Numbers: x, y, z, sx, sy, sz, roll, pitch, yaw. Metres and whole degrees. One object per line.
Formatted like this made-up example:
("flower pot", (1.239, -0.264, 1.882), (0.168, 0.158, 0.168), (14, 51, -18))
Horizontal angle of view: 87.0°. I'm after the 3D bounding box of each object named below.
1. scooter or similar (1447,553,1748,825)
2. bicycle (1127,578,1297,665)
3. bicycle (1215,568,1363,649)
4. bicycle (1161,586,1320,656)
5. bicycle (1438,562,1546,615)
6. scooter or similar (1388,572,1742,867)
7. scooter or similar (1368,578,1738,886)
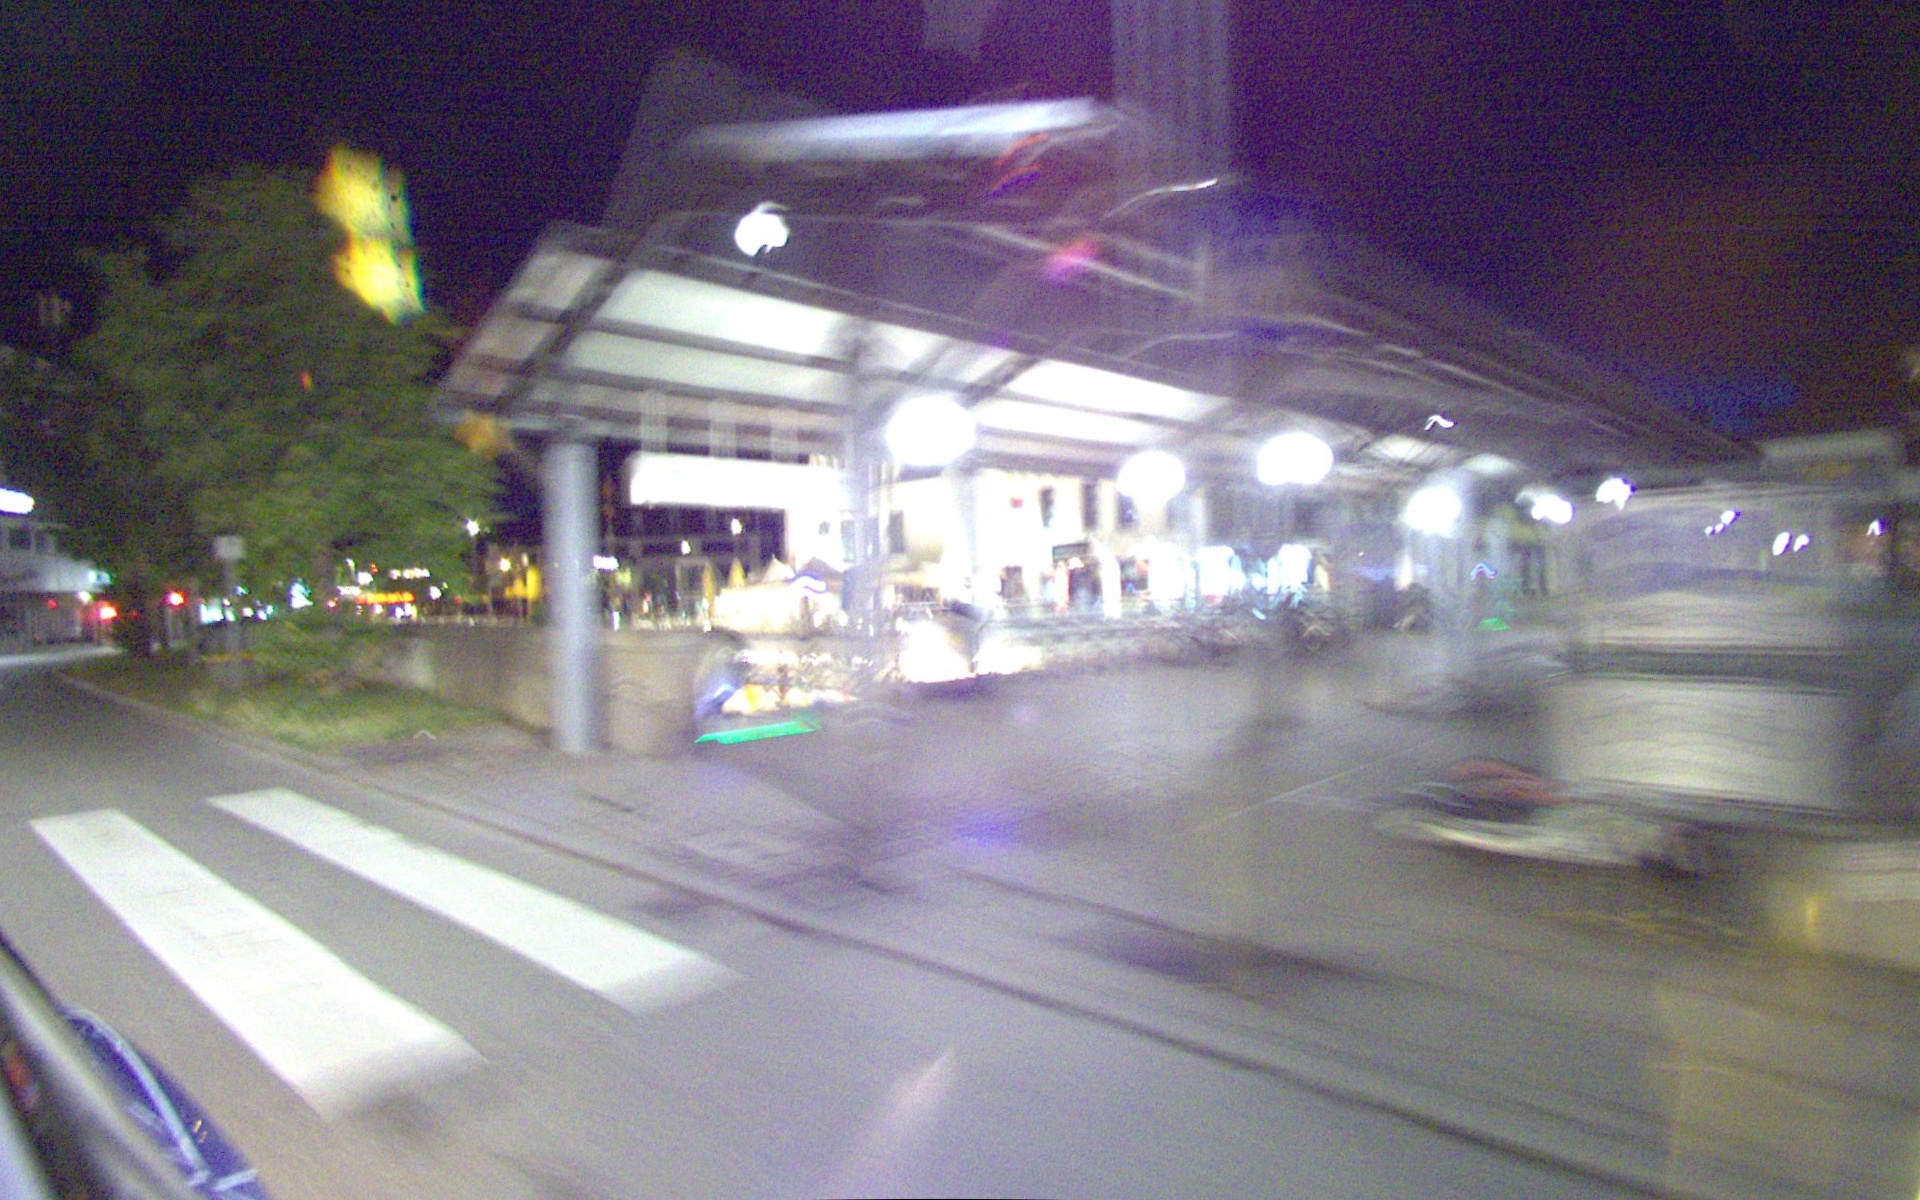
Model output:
("scooter or similar", (3.637, 0.465, 5.831), (1.351, 1.390, 0.589), (-2, 0, 42))
("bicycle", (3.900, 0.295, 15.832), (2.465, 1.263, 0.850), (1, 2, 41))
("bicycle", (5.844, 0.128, 18.092), (2.412, 1.374, 0.755), (1, 2, 41))
("bicycle", (4.707, 0.324, 17.142), (2.481, 1.095, 0.850), (1, 2, 41))
("bicycle", (14.450, -0.312, 27.565), (2.509, 1.374, 0.765), (1, 2, 41))
("scooter or similar", (2.969, 0.542, 5.073), (1.448, 1.298, 0.313), (-2, 1, 43))
("scooter or similar", (2.775, 0.566, 4.846), (1.448, 1.273, 0.365), (-2, 1, 43))
